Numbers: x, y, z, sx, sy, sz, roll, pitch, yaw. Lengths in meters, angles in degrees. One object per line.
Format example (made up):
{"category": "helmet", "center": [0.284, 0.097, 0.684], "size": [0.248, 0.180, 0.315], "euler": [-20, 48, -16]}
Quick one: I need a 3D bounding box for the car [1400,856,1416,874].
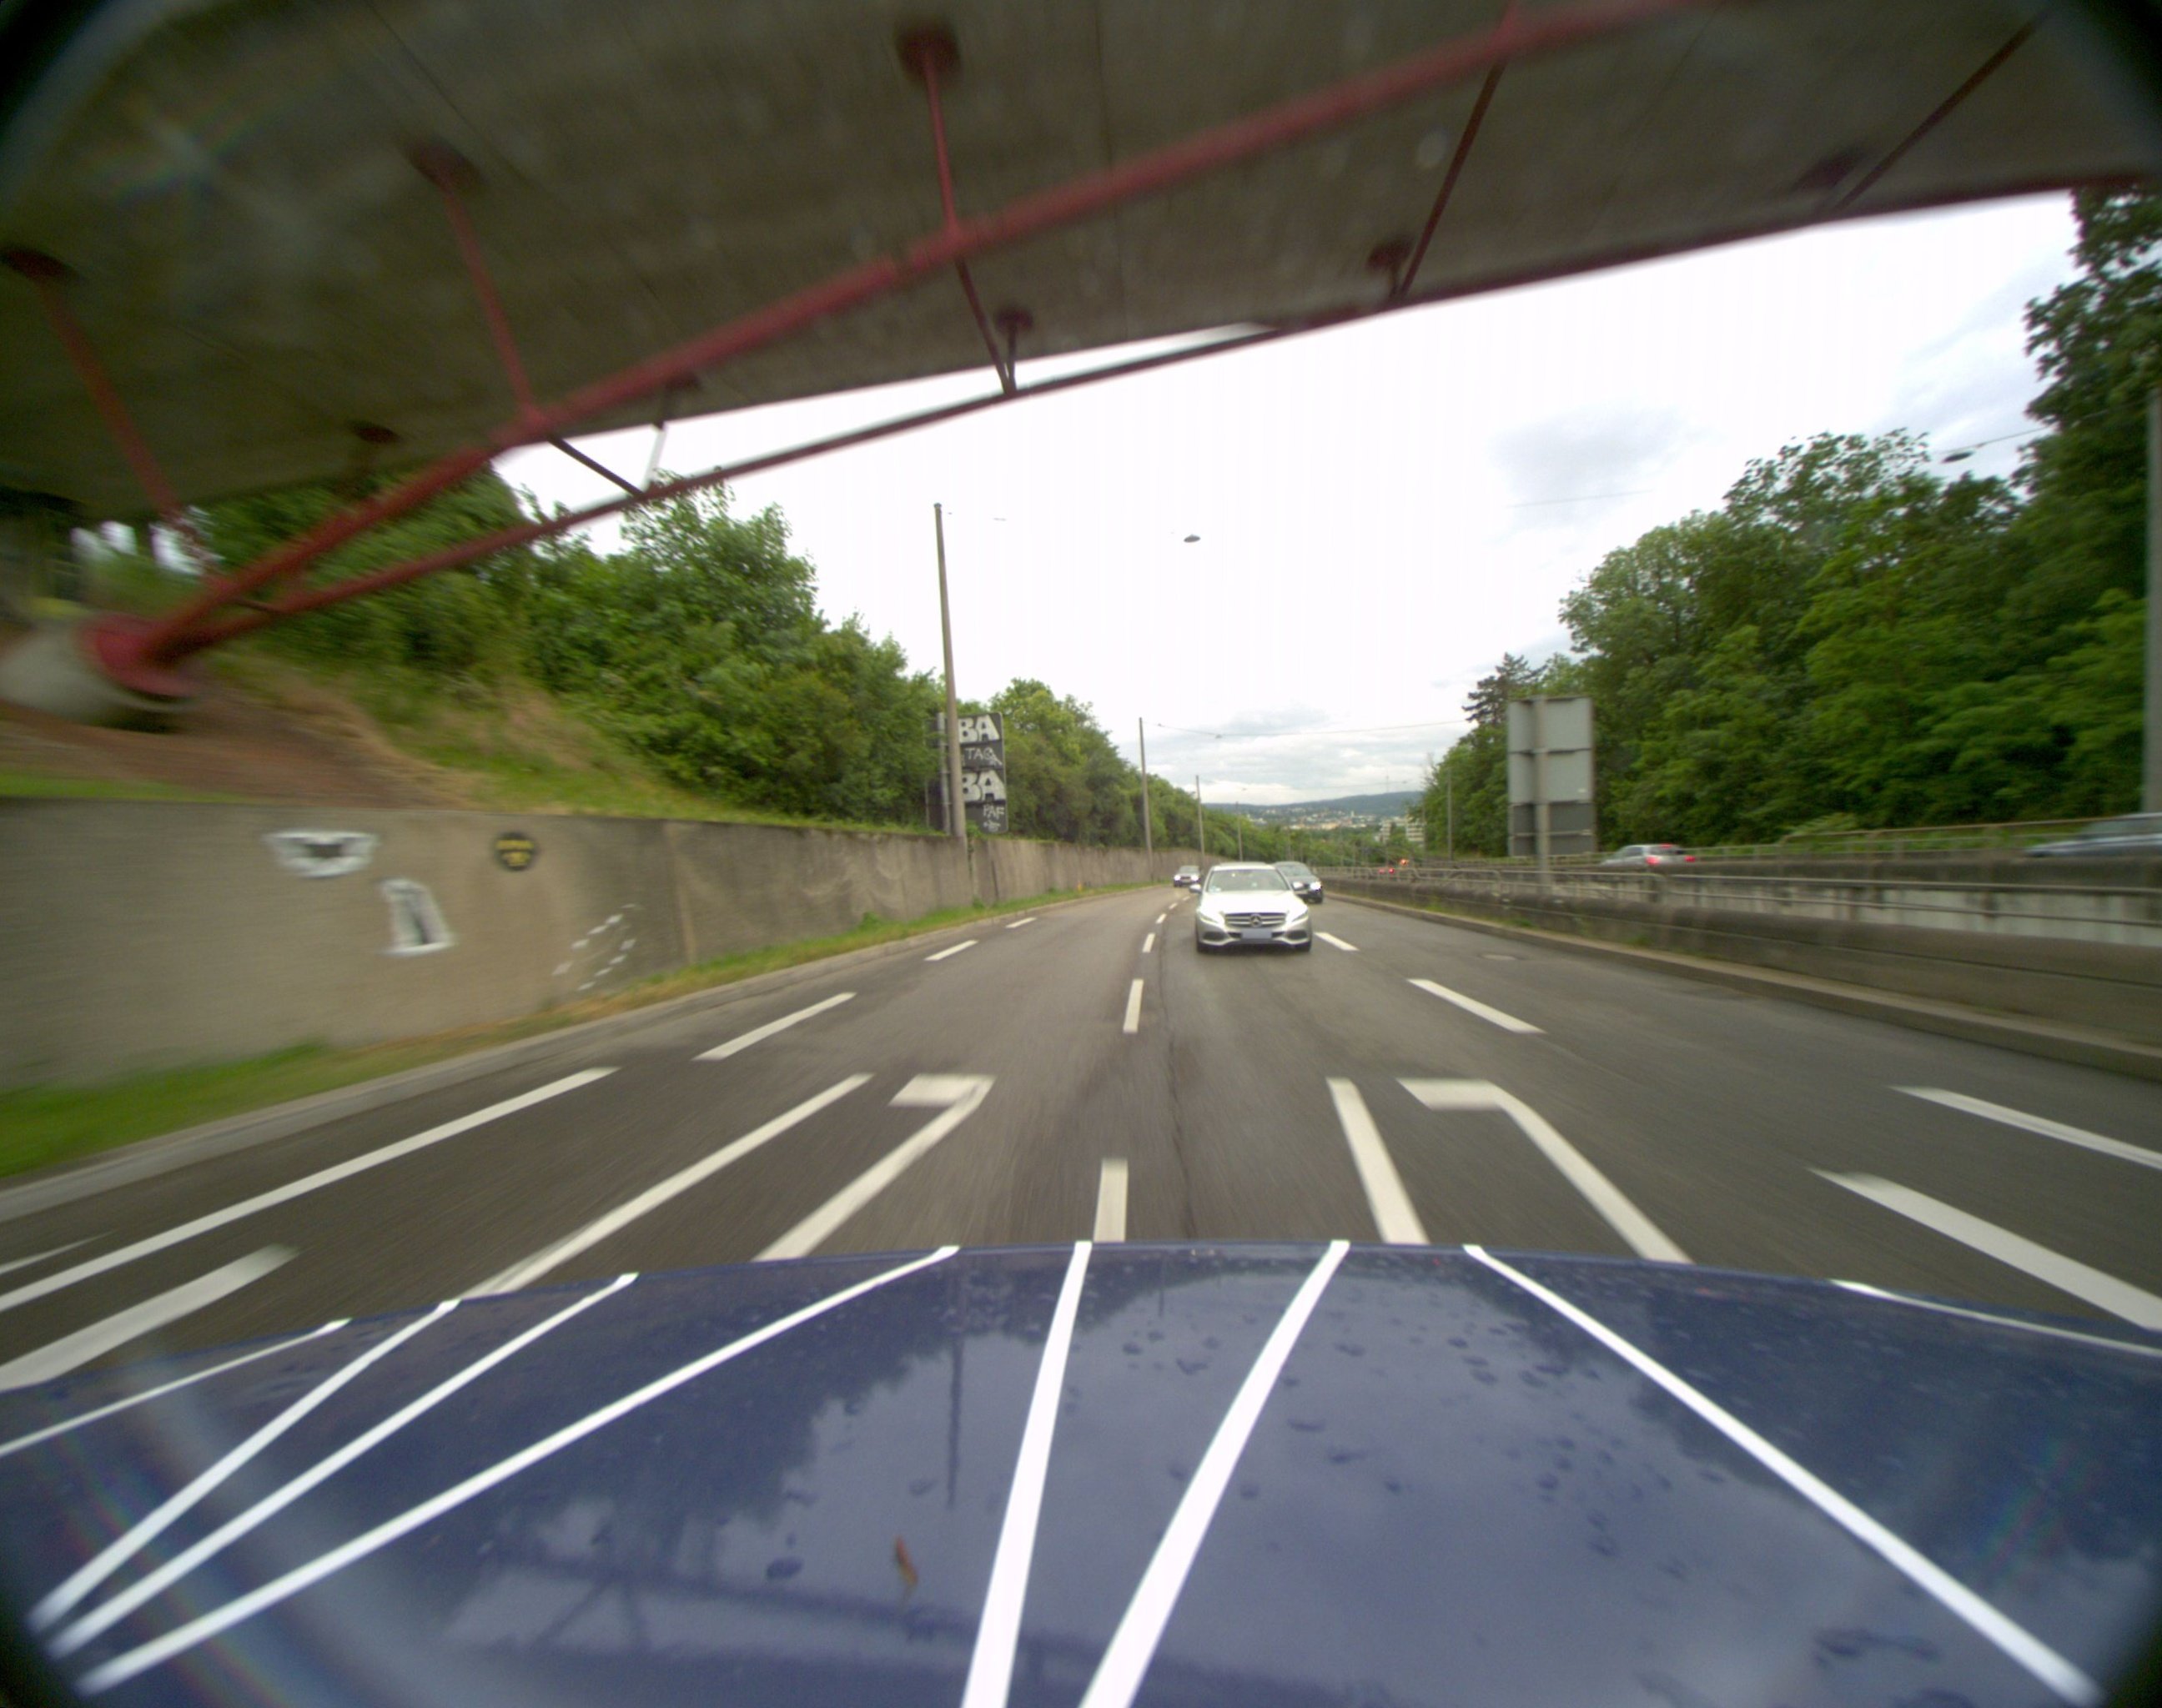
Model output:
{"category": "car", "center": [52.920, 1.765, 122.980], "size": [2.184, 2.718, 6.355], "euler": [0, 0, 22]}

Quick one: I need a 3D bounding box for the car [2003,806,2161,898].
{"category": "car", "center": [23.077, -0.051, 16.184], "size": [1.674, 1.904, 4.561], "euler": [-1, 0, 6]}

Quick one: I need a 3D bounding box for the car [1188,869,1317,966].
{"category": "car", "center": [2.883, 1.010, 13.633], "size": [1.860, 1.394, 4.318], "euler": [-1, -1, 8]}

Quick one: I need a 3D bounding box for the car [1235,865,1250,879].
{"category": "car", "center": [20.605, 2.251, 96.908], "size": [1.808, 1.501, 4.004], "euler": [-3, 0, 13]}

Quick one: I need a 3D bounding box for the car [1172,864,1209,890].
{"category": "car", "center": [7.252, 1.484, 50.158], "size": [1.808, 1.501, 4.004], "euler": [-3, 0, 16]}

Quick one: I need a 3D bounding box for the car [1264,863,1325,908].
{"category": "car", "center": [7.524, 1.078, 27.082], "size": [1.728, 1.462, 3.891], "euler": [-1, -1, 10]}

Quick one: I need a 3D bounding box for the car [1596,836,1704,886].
{"category": "car", "center": [22.070, 0.277, 29.658], "size": [1.674, 1.819, 4.003], "euler": [0, 0, 9]}

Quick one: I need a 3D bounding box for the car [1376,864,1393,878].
{"category": "car", "center": [39.423, 2.248, 98.731], "size": [1.963, 1.739, 4.148], "euler": [0, 0, 23]}
